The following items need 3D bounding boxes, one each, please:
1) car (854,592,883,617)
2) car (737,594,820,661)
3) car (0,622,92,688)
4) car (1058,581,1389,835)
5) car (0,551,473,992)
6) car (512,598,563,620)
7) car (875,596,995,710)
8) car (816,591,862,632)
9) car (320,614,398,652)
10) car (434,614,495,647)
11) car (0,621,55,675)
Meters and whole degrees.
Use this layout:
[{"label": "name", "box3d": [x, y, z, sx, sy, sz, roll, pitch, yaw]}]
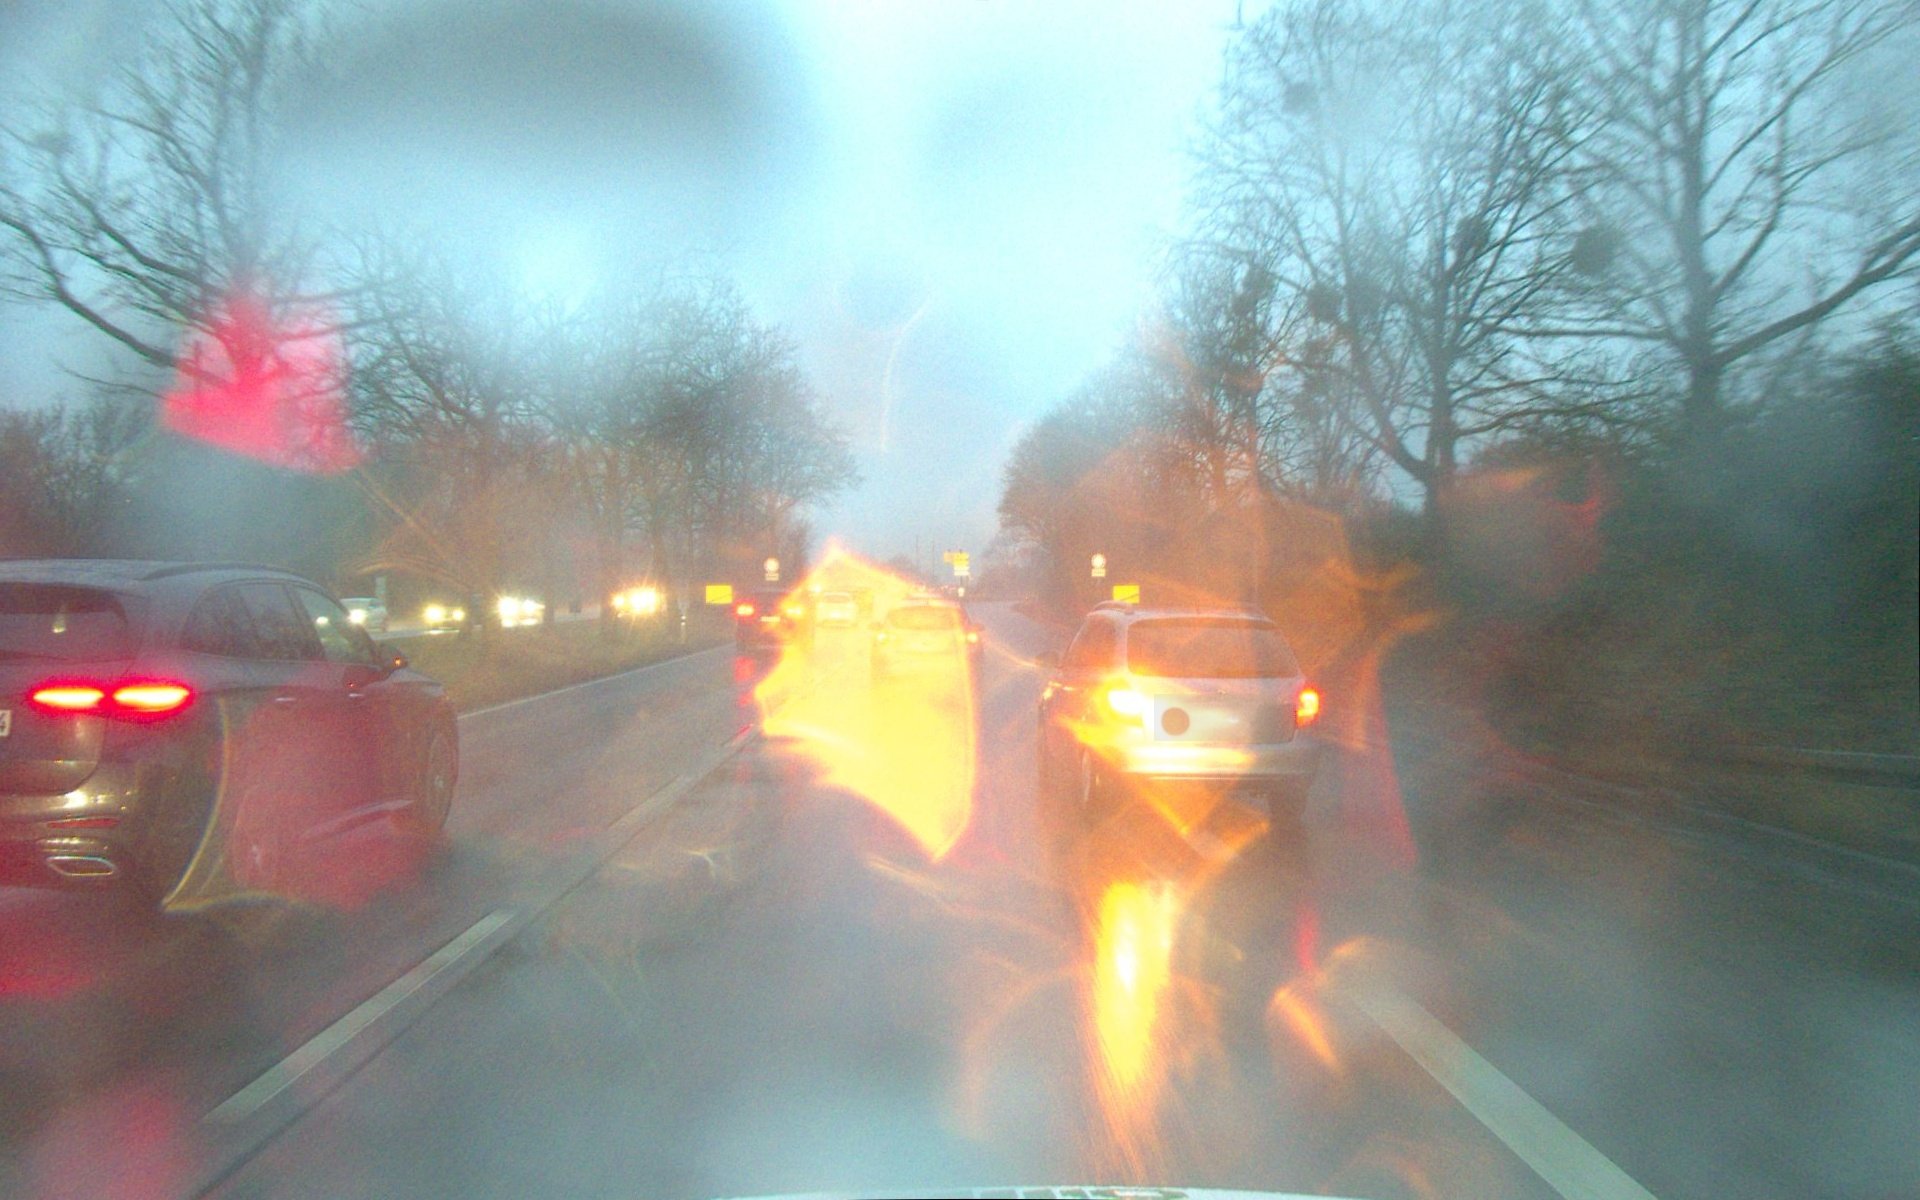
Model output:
[{"label": "car", "box3d": [-5.059, 0.282, 91.800, 1.474, 1.362, 3.999, 0, -1, -1]}, {"label": "car", "box3d": [-4.712, 0.711, 43.322, 1.785, 1.677, 3.999, 0, -1, -1]}, {"label": "car", "box3d": [-20.969, 1.172, 36.224, 1.716, 1.331, 4.314, 0, 0, -2]}, {"label": "car", "box3d": [1.917, 0.778, 13.402, 1.894, 1.677, 4.465, 1, -1, -1]}, {"label": "car", "box3d": [-3.981, 0.682, 8.528, 1.786, 1.677, 4.464, 0, -1, -3]}, {"label": "car", "box3d": [-24.764, 0.535, 97.165, 1.953, 1.212, 3.999, 1, -1, 0]}, {"label": "car", "box3d": [-0.407, 0.847, 27.254, 1.785, 1.677, 4.465, 1, -1, -1]}, {"label": "car", "box3d": [-5.114, 0.508, 70.499, 1.785, 1.677, 3.998, 0, -1, -2]}, {"label": "car", "box3d": [-25.063, 1.348, 69.097, 1.716, 1.508, 4.197, 0, 0, 0]}, {"label": "car", "box3d": [-21.355, 1.287, 71.423, 1.605, 1.363, 3.997, 1, 0, -4]}, {"label": "car", "box3d": [-25.137, 1.231, 42.282, 1.716, 1.331, 4.314, 0, 0, -2]}]
